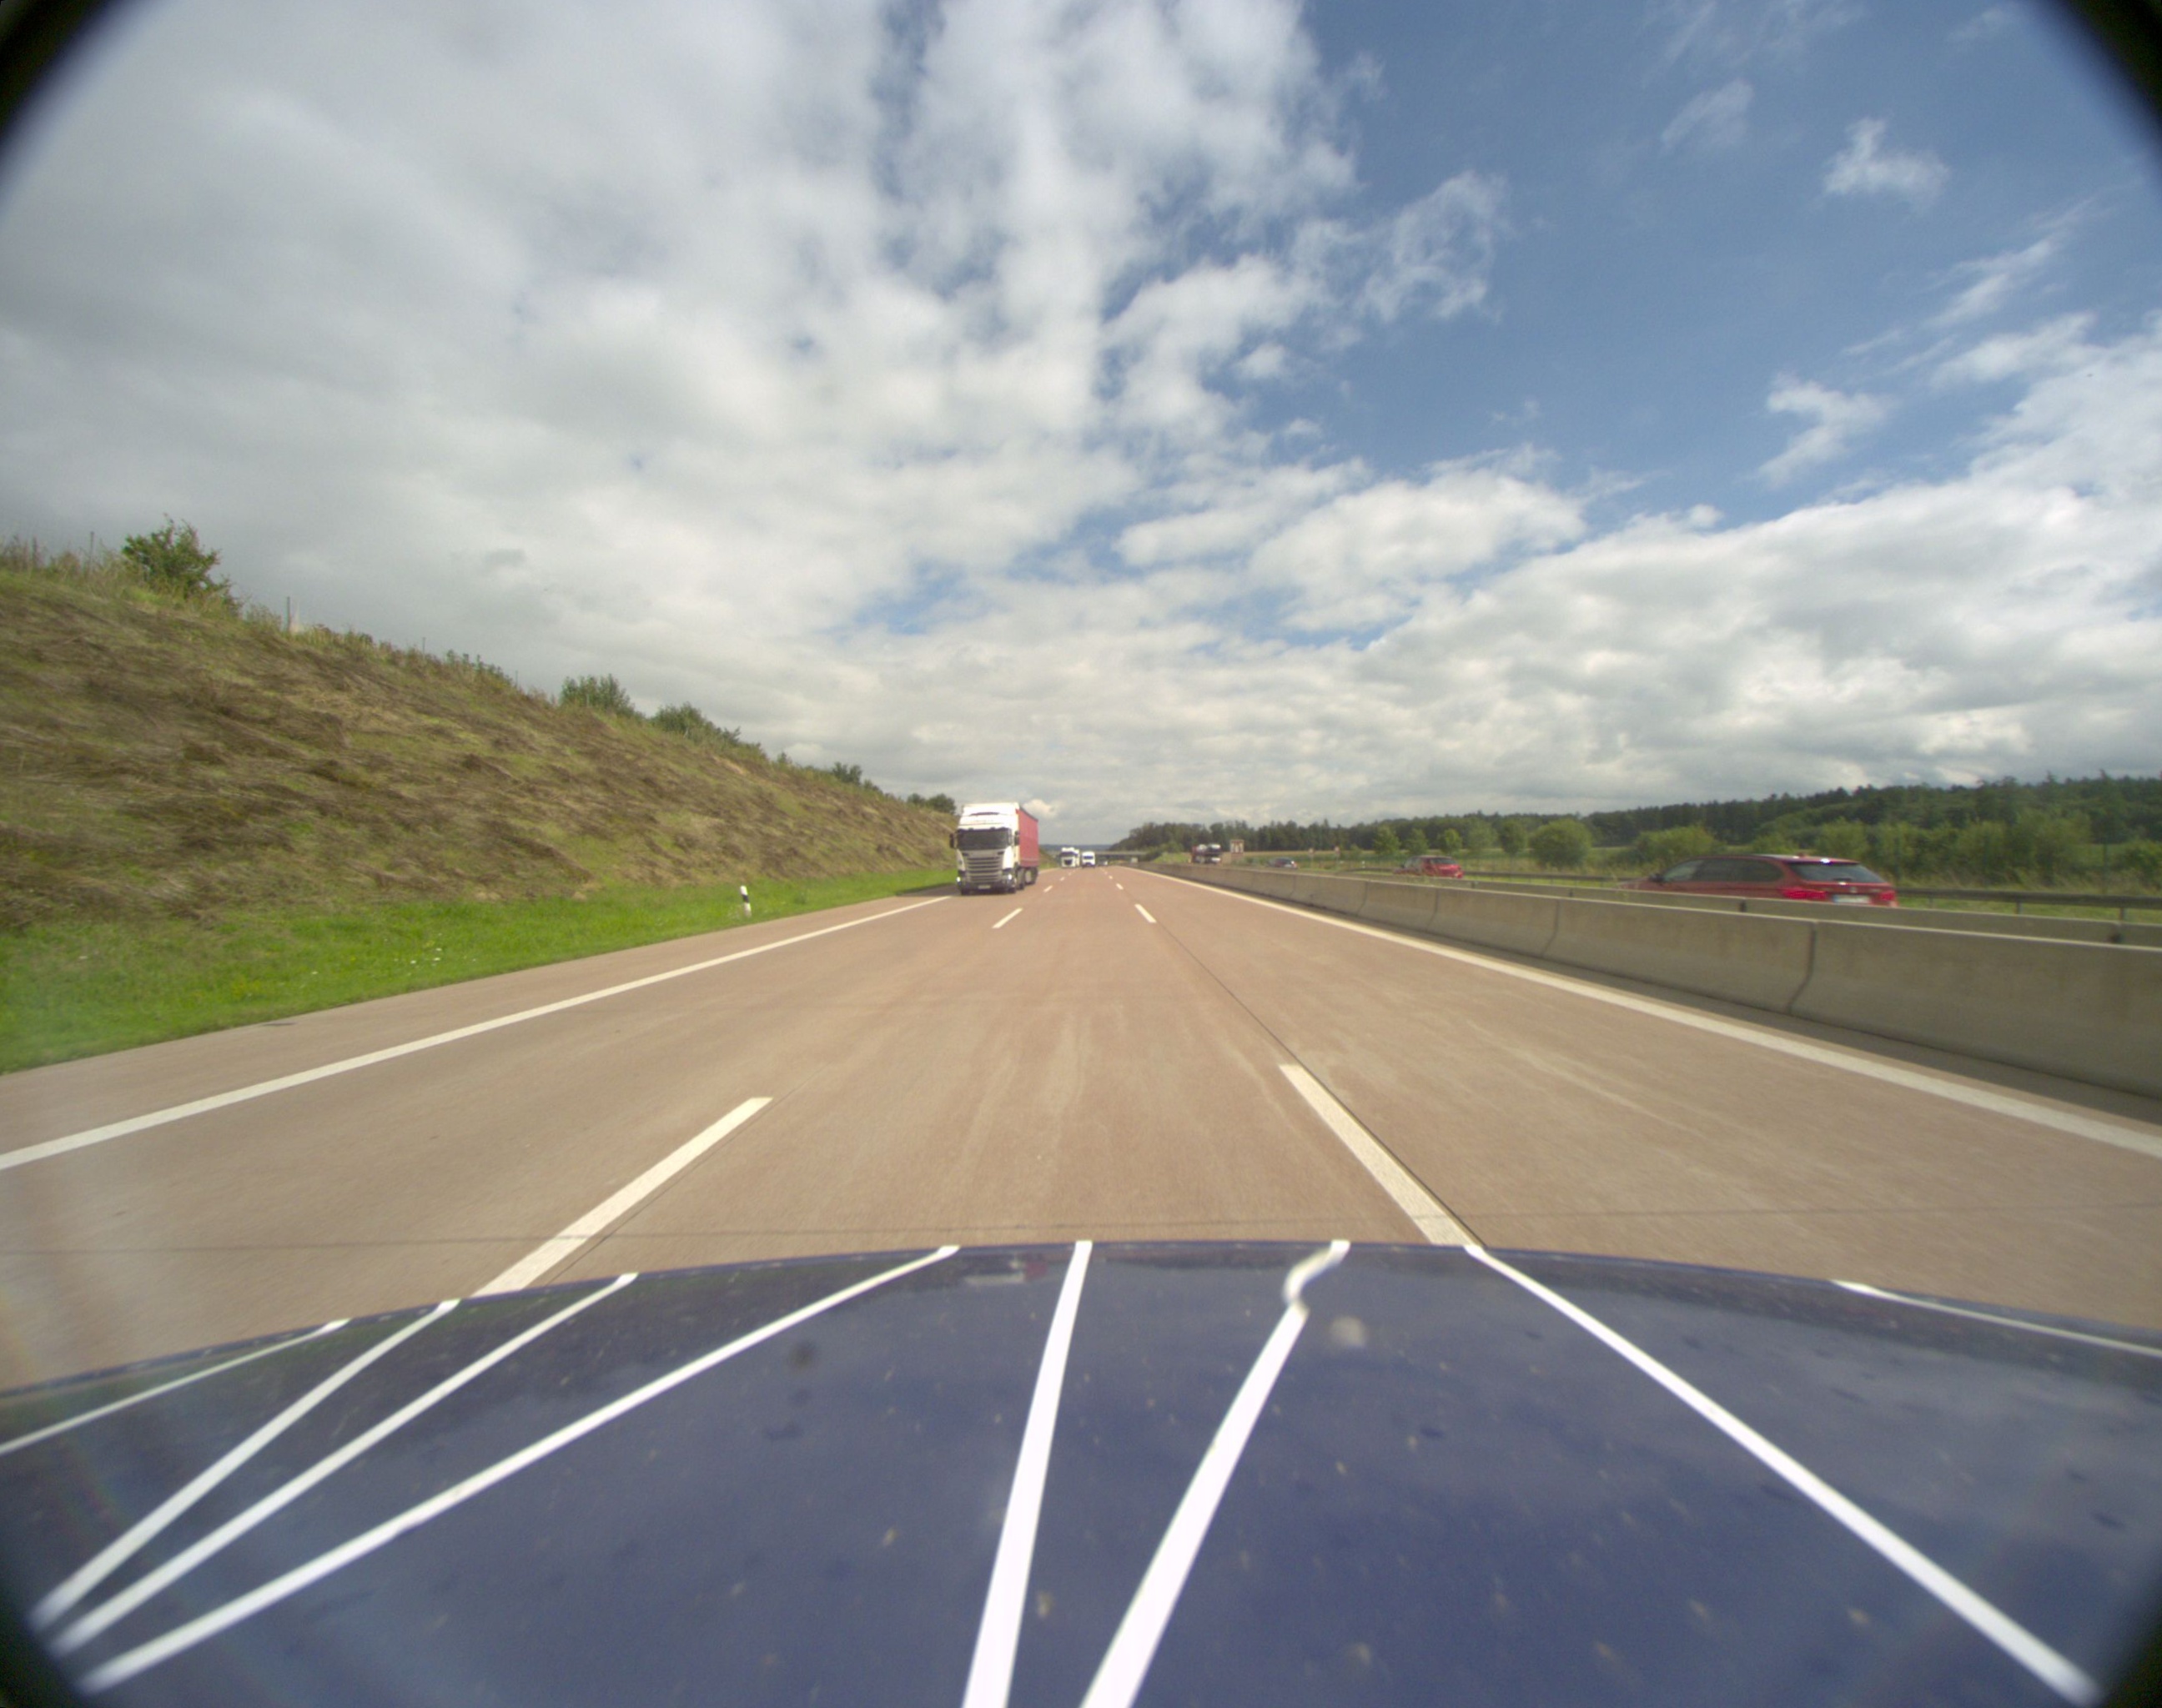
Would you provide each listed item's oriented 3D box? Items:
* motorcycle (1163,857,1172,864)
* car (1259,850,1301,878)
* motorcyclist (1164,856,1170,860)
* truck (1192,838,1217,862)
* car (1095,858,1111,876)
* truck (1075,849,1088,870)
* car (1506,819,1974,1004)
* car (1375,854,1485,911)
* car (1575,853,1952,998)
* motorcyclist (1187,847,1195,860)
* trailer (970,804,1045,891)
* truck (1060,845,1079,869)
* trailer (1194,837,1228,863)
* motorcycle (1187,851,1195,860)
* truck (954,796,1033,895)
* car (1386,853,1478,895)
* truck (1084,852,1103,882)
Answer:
[{"bbox_3d":[18.236,1.362,160.331,1.558,1.533,2.841,-3,0,2],"label":"motorcycle"},{"bbox_3d":[15.883,0.760,60.835,1.991,2.002,5.051,-3,1,1],"label":"car"},{"bbox_3d":[18.151,0.815,160.130,1.188,0.943,0.839,-3,0,1],"label":"motorcyclist"},{"bbox_3d":[21.551,-0.634,133.419,3.202,3.955,7.730,-3,0,2],"label":"truck"},{"bbox_3d":[4.281,2.532,147.966,2.773,3.260,6.393,-3,0,2],"label":"car"},{"bbox_3d":[0.170,1.303,184.829,2.927,4.659,11.808,-3,0,1],"label":"truck"},{"bbox_3d":[7.396,0.535,9.311,1.889,1.652,4.433,-3,0,1],"label":"car"},{"bbox_3d":[7.836,0.593,17.266,1.225,1.145,2.757,-3,0,1],"label":"car"},{"bbox_3d":[11.482,1.025,13.494,1.998,1.971,5.218,-3,0,1],"label":"car"},{"bbox_3d":[16.909,-0.105,116.740,1.012,1.851,0.744,-3,1,2],"label":"motorcyclist"},{"bbox_3d":[-3.805,-0.338,42.608,2.679,4.069,12.789,-2,0,1],"label":"trailer"},{"bbox_3d":[-2.036,0.584,144.819,3.107,4.333,11.256,-3,0,1],"label":"truck"},{"bbox_3d":[21.306,-0.614,125.876,3.202,3.955,16.326,-3,0,2],"label":"trailer"},{"bbox_3d":[16.924,0.183,116.634,0.929,1.296,2.342,-3,0,2],"label":"motorcycle"},{"bbox_3d":[-3.902,-0.350,35.294,2.681,4.082,6.616,-2,0,1],"label":"truck"},{"bbox_3d":[15.493,0.824,33.823,1.978,1.652,4.490,-3,0,0],"label":"car"},{"bbox_3d":[1.962,1.867,119.094,2.681,4.333,11.808,-3,0,1],"label":"truck"}]
